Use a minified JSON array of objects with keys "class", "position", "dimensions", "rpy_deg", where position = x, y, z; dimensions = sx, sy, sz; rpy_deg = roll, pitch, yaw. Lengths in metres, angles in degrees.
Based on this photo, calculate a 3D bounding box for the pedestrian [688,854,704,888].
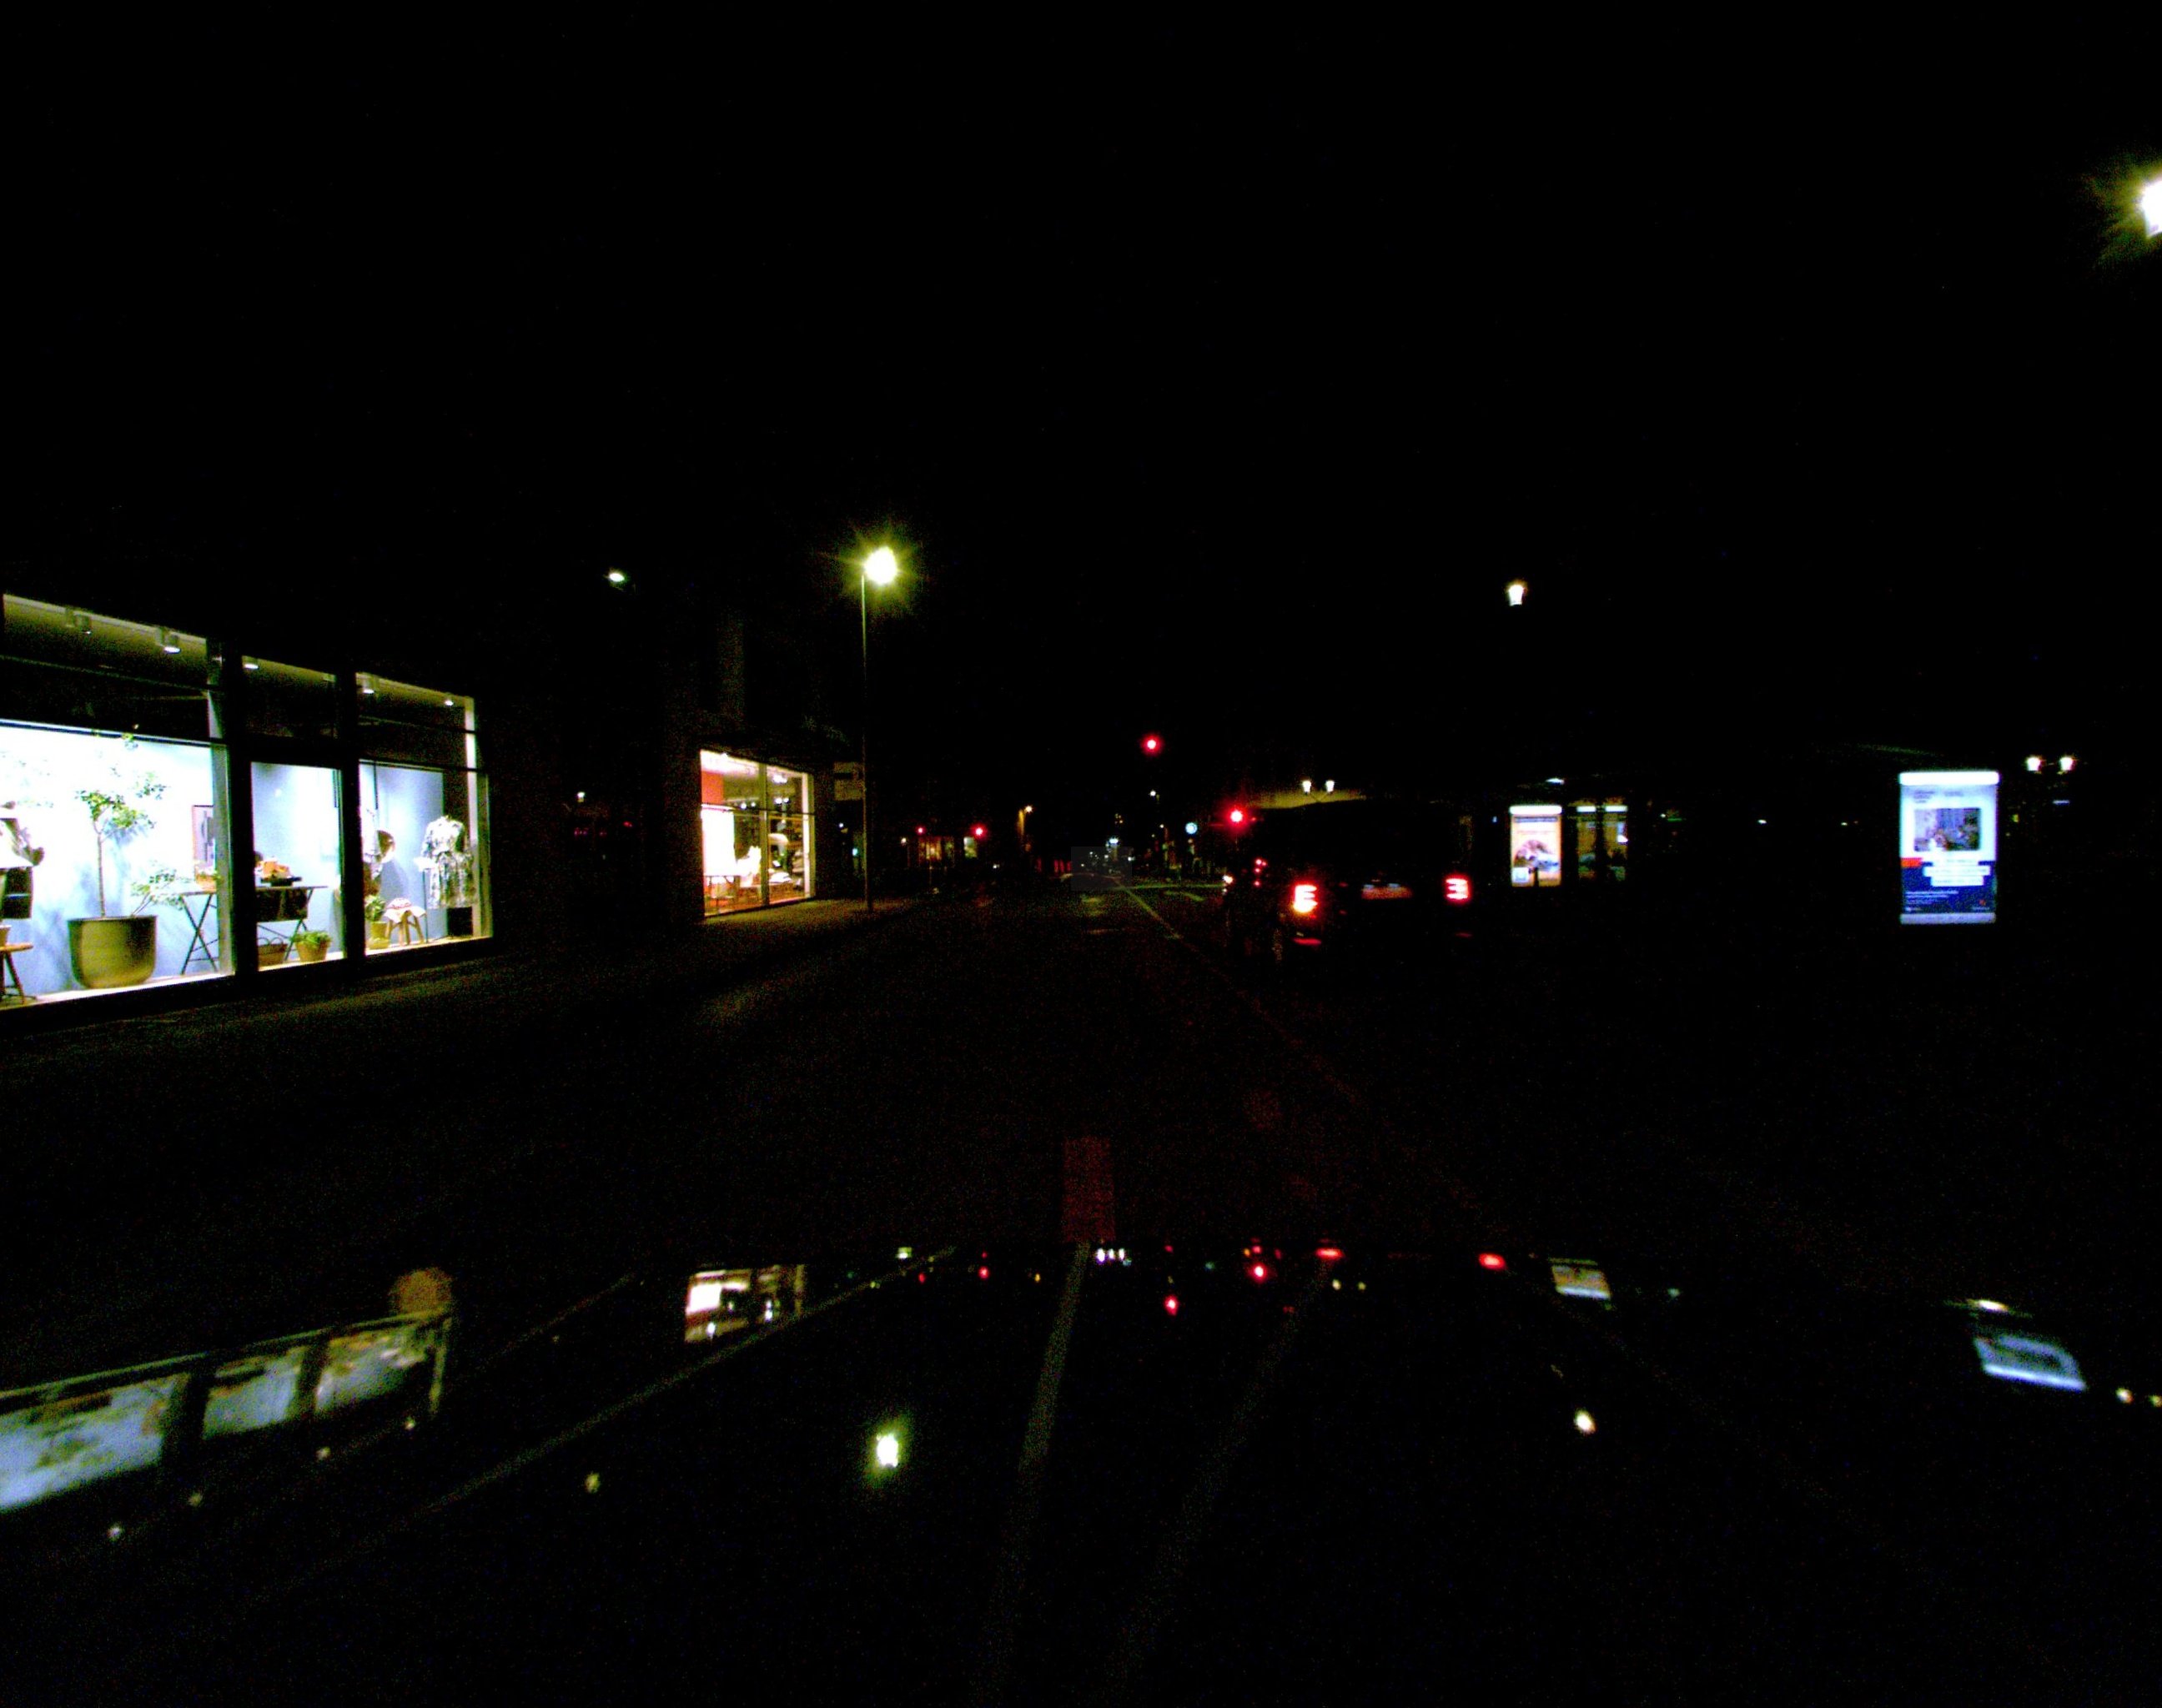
[{"class":"pedestrian","position":[-19.731,0.880,38.965],"dimensions":[0.525,1.707,0.566],"rpy_deg":[-3,1,-15]}]

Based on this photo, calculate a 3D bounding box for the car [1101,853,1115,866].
[{"class":"car","position":[3.875,0.752,110.033],"dimensions":[1.879,1.718,3.999],"rpy_deg":[-2,1,1]}]

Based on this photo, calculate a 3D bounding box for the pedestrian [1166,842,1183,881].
[{"class":"pedestrian","position":[4.166,0.332,33.788],"dimensions":[0.539,1.672,0.648],"rpy_deg":[-2,1,23]}]

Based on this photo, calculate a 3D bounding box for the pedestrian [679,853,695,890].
[{"class":"pedestrian","position":[-18.095,0.795,34.899],"dimensions":[0.407,1.677,0.487],"rpy_deg":[-2,1,5]}]

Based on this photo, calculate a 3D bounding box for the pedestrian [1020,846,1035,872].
[{"class":"pedestrian","position":[-3.560,0.318,50.419],"dimensions":[0.877,1.723,0.647],"rpy_deg":[0,1,4]}]

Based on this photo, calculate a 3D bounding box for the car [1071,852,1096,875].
[{"class":"car","position":[0.241,0.700,60.276],"dimensions":[1.713,1.660,3.738],"rpy_deg":[-2,1,3]}]

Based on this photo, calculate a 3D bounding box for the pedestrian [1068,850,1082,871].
[{"class":"pedestrian","position":[-0.411,0.447,54.734],"dimensions":[0.828,1.487,0.648],"rpy_deg":[0,1,16]}]

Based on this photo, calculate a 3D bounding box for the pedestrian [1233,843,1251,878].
[{"class":"pedestrian","position":[7.506,0.297,35.358],"dimensions":[0.581,1.619,0.648],"rpy_deg":[-1,1,35]}]

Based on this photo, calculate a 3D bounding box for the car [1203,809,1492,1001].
[{"class":"car","position":[3.033,0.473,9.943],"dimensions":[1.972,1.861,4.911],"rpy_deg":[-1,1,-1]}]
